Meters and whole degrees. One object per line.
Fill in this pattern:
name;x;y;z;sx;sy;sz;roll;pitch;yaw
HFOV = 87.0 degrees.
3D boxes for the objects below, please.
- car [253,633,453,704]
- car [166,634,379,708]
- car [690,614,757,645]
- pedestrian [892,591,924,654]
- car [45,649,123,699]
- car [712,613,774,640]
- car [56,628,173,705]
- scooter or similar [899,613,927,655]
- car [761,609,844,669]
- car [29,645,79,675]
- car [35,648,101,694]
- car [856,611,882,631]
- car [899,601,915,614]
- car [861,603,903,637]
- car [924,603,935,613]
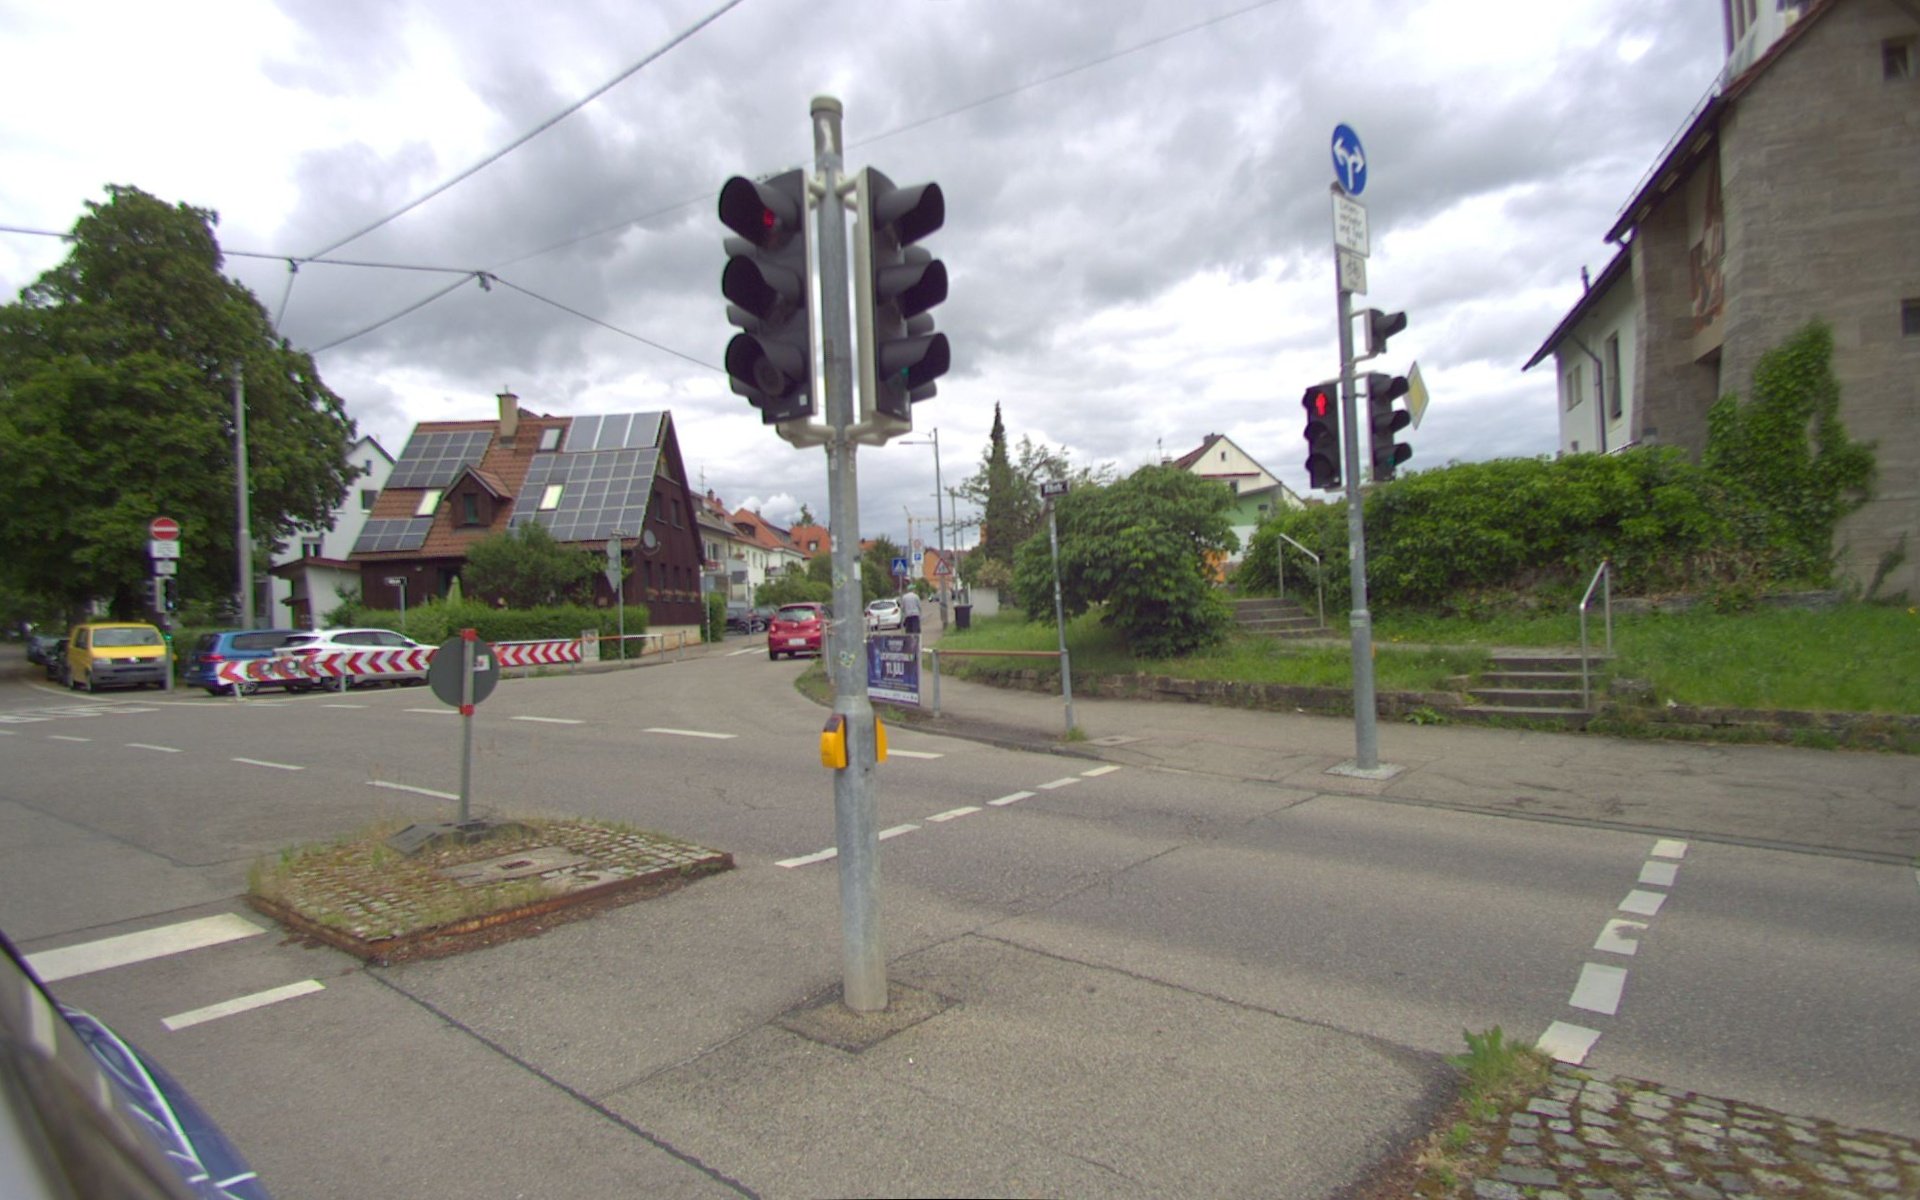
car;-15.021;1.662;25.248;1.837;1.483;3.867;-4;-1;28
car;-17.465;1.769;25.887;1.842;1.558;4.128;-4;-2;36
car;-13.315;1.658;57.103;3.395;1.501;1.590;-3;-1;1
pedestrian;-1.410;0.603;27.664;0.681;1.665;0.830;-3;1;5
car;-29.563;2.429;34.102;1.725;1.461;4.517;-1;-1;-44
car;-13.258;1.617;61.969;3.395;1.501;1.590;-3;-1;1
car;-24.878;1.902;29.723;4.797;2.004;1.896;-3;-1;41
scooter or similar;-1.318;0.951;28.538;0.605;1.103;0.888;-3;1;5
car;-4.386;1.073;28.728;1.750;1.501;3.684;-3;-1;0
car;-46.670;3.077;52.190;1.825;1.387;4.600;-1;-2;-41
car;-32.955;2.574;37.351;1.724;1.461;4.598;-1;-1;-43
car;-7.587;1.740;84.441;1.750;1.501;3.684;-3;-1;0
car;-6.684;0.929;127.143;1.750;1.501;3.684;-3;-1;0
car;-3.828;1.004;50.319;1.750;1.501;3.684;-3;-1;0
car;-5.269;1.433;174.950;1.750;1.501;3.684;-3;-1;0
